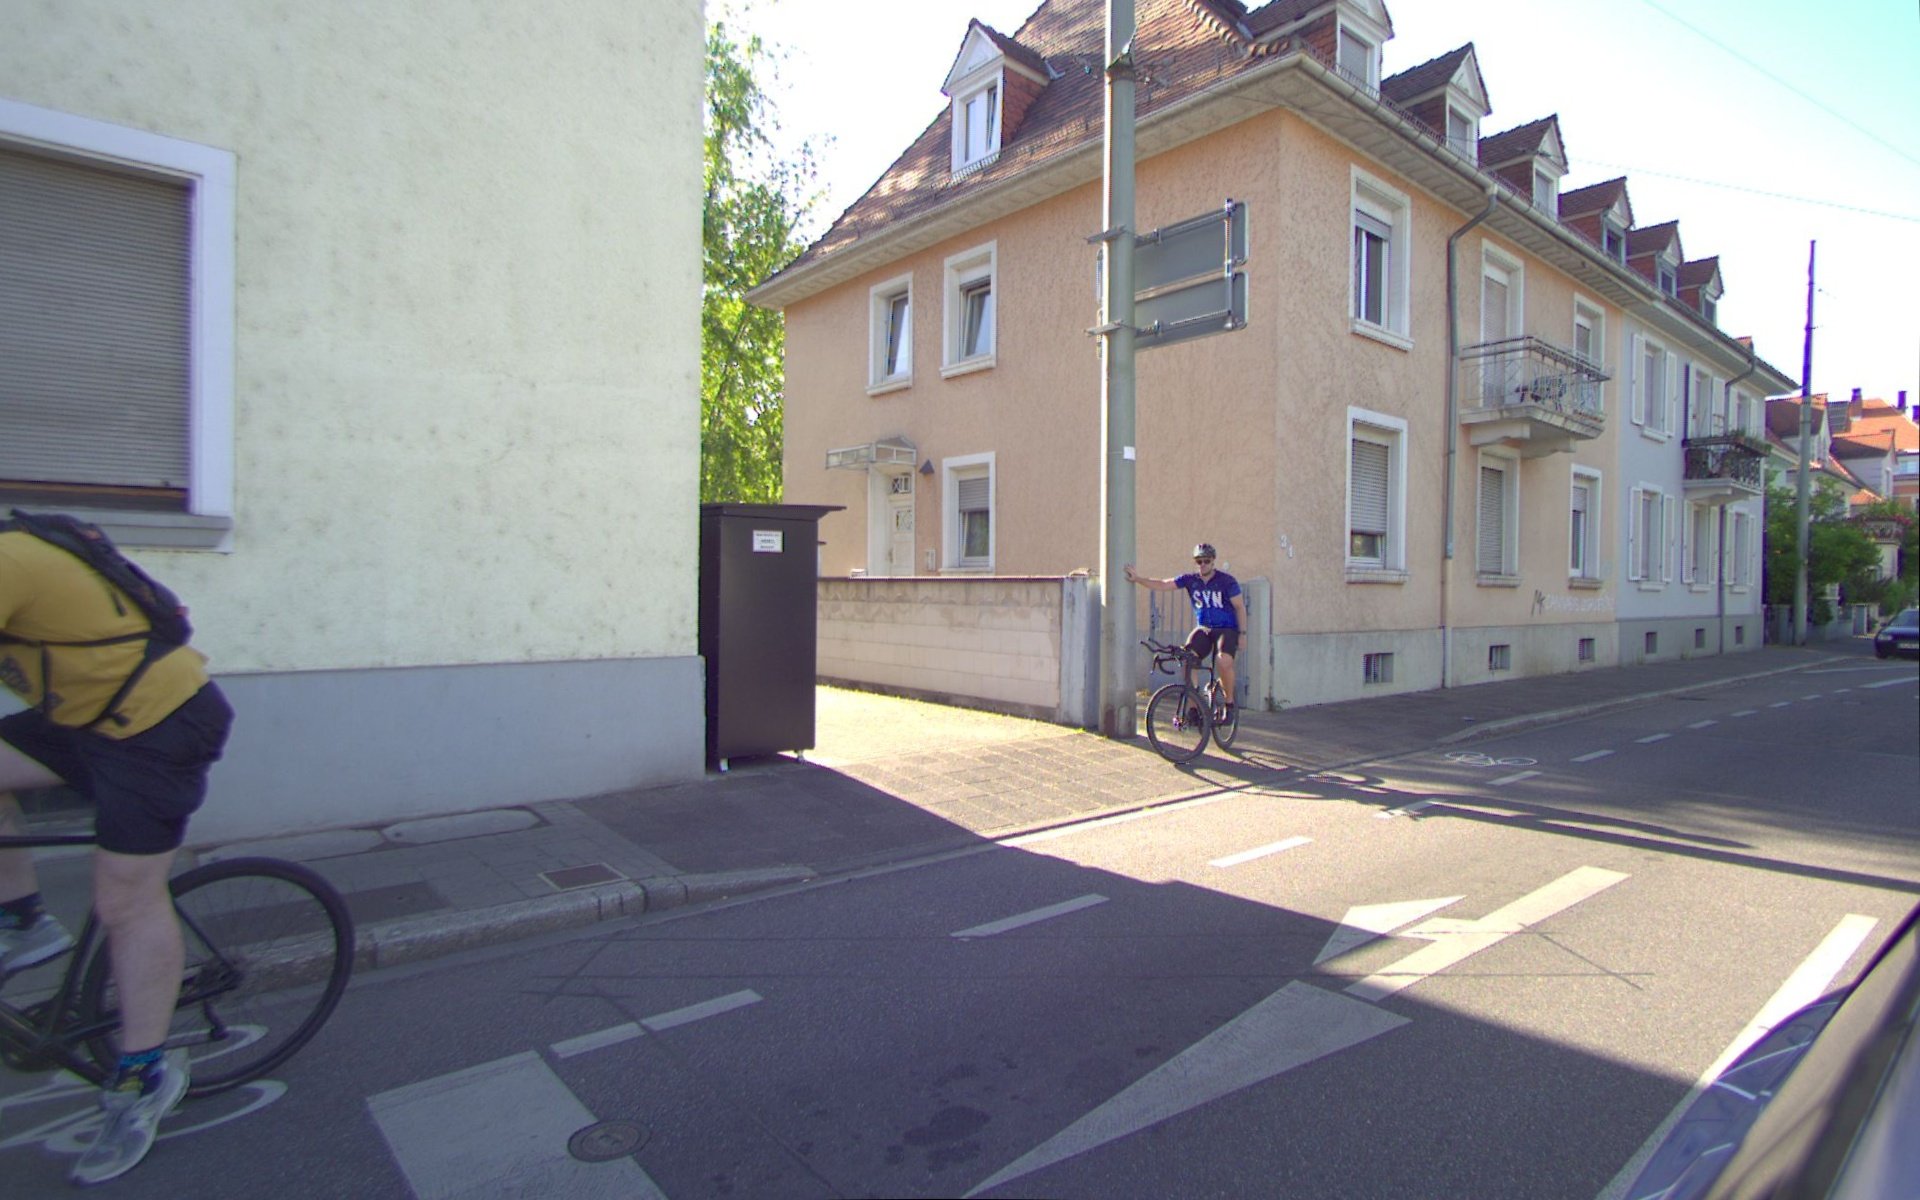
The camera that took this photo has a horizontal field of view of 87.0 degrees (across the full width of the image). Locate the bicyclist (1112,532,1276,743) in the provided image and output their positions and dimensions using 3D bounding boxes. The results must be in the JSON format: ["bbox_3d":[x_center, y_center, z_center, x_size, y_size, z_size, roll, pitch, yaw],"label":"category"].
[{"bbox_3d":[2.149,0.299,9.359,0.838,1.758,1.072,0,6,-40],"label":"bicyclist"}]

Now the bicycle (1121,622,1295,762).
[{"bbox_3d":[2.272,0.783,9.161,1.689,1.064,0.595,0,6,-41],"label":"bicycle"}]

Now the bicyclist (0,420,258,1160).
[{"bbox_3d":[-2.422,0.444,2.620,0.939,1.743,0.582,0,1,-41],"label":"bicyclist"}]

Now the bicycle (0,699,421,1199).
[{"bbox_3d":[-2.464,0.901,2.644,1.778,1.101,0.611,0,1,-41],"label":"bicycle"}]

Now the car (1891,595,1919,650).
[{"bbox_3d":[26.649,0.592,27.341,3.932,1.438,1.845,0,1,-42],"label":"car"}]
